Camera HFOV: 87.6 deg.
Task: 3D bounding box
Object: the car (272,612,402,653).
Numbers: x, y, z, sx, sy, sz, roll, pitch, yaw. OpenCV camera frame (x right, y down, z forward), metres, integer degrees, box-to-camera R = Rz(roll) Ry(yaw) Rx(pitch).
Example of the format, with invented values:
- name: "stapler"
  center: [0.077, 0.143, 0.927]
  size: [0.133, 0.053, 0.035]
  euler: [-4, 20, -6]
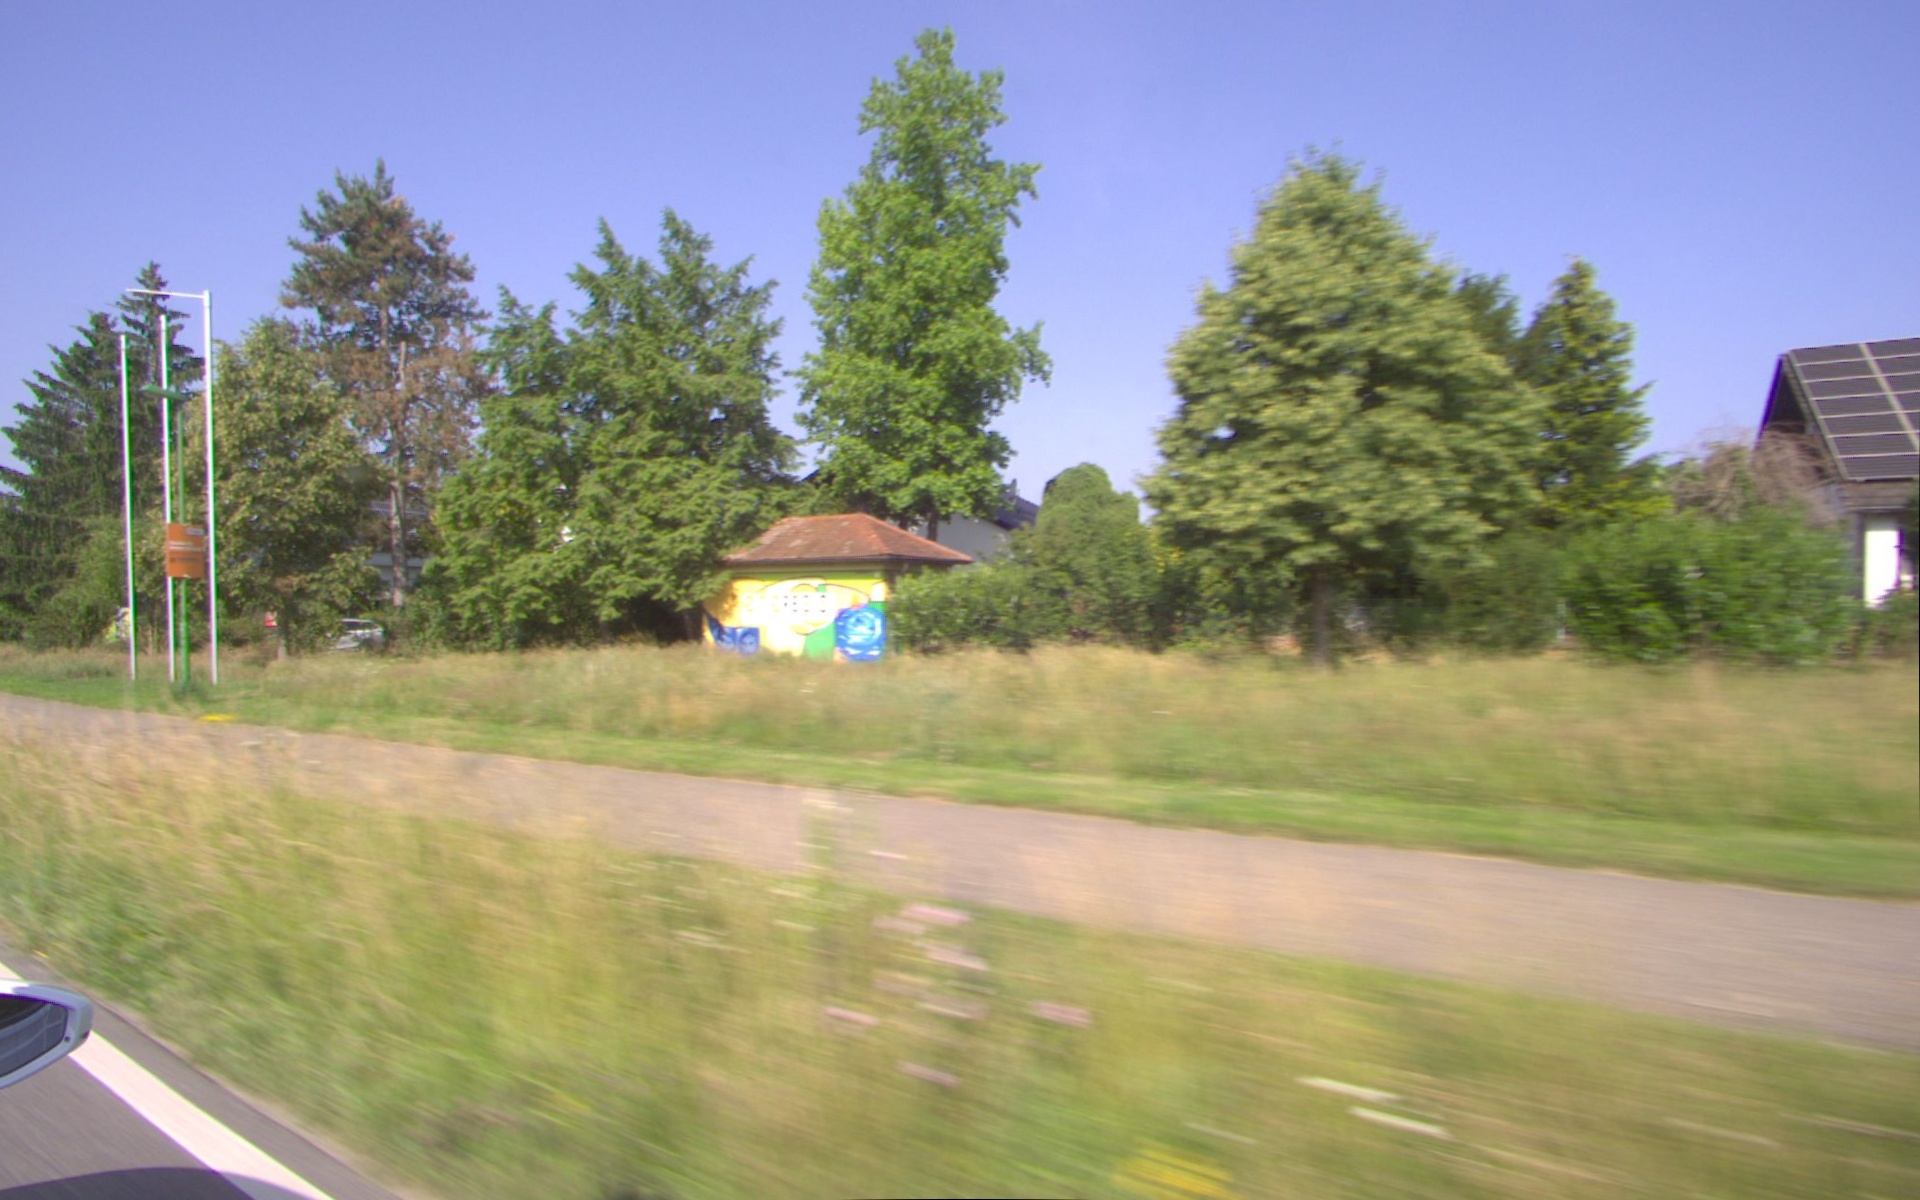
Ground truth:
- name: "car"
  center: [-24.192, 1.231, 39.010]
  size: [1.785, 1.453, 3.987]
  euler: [0, 0, 25]
